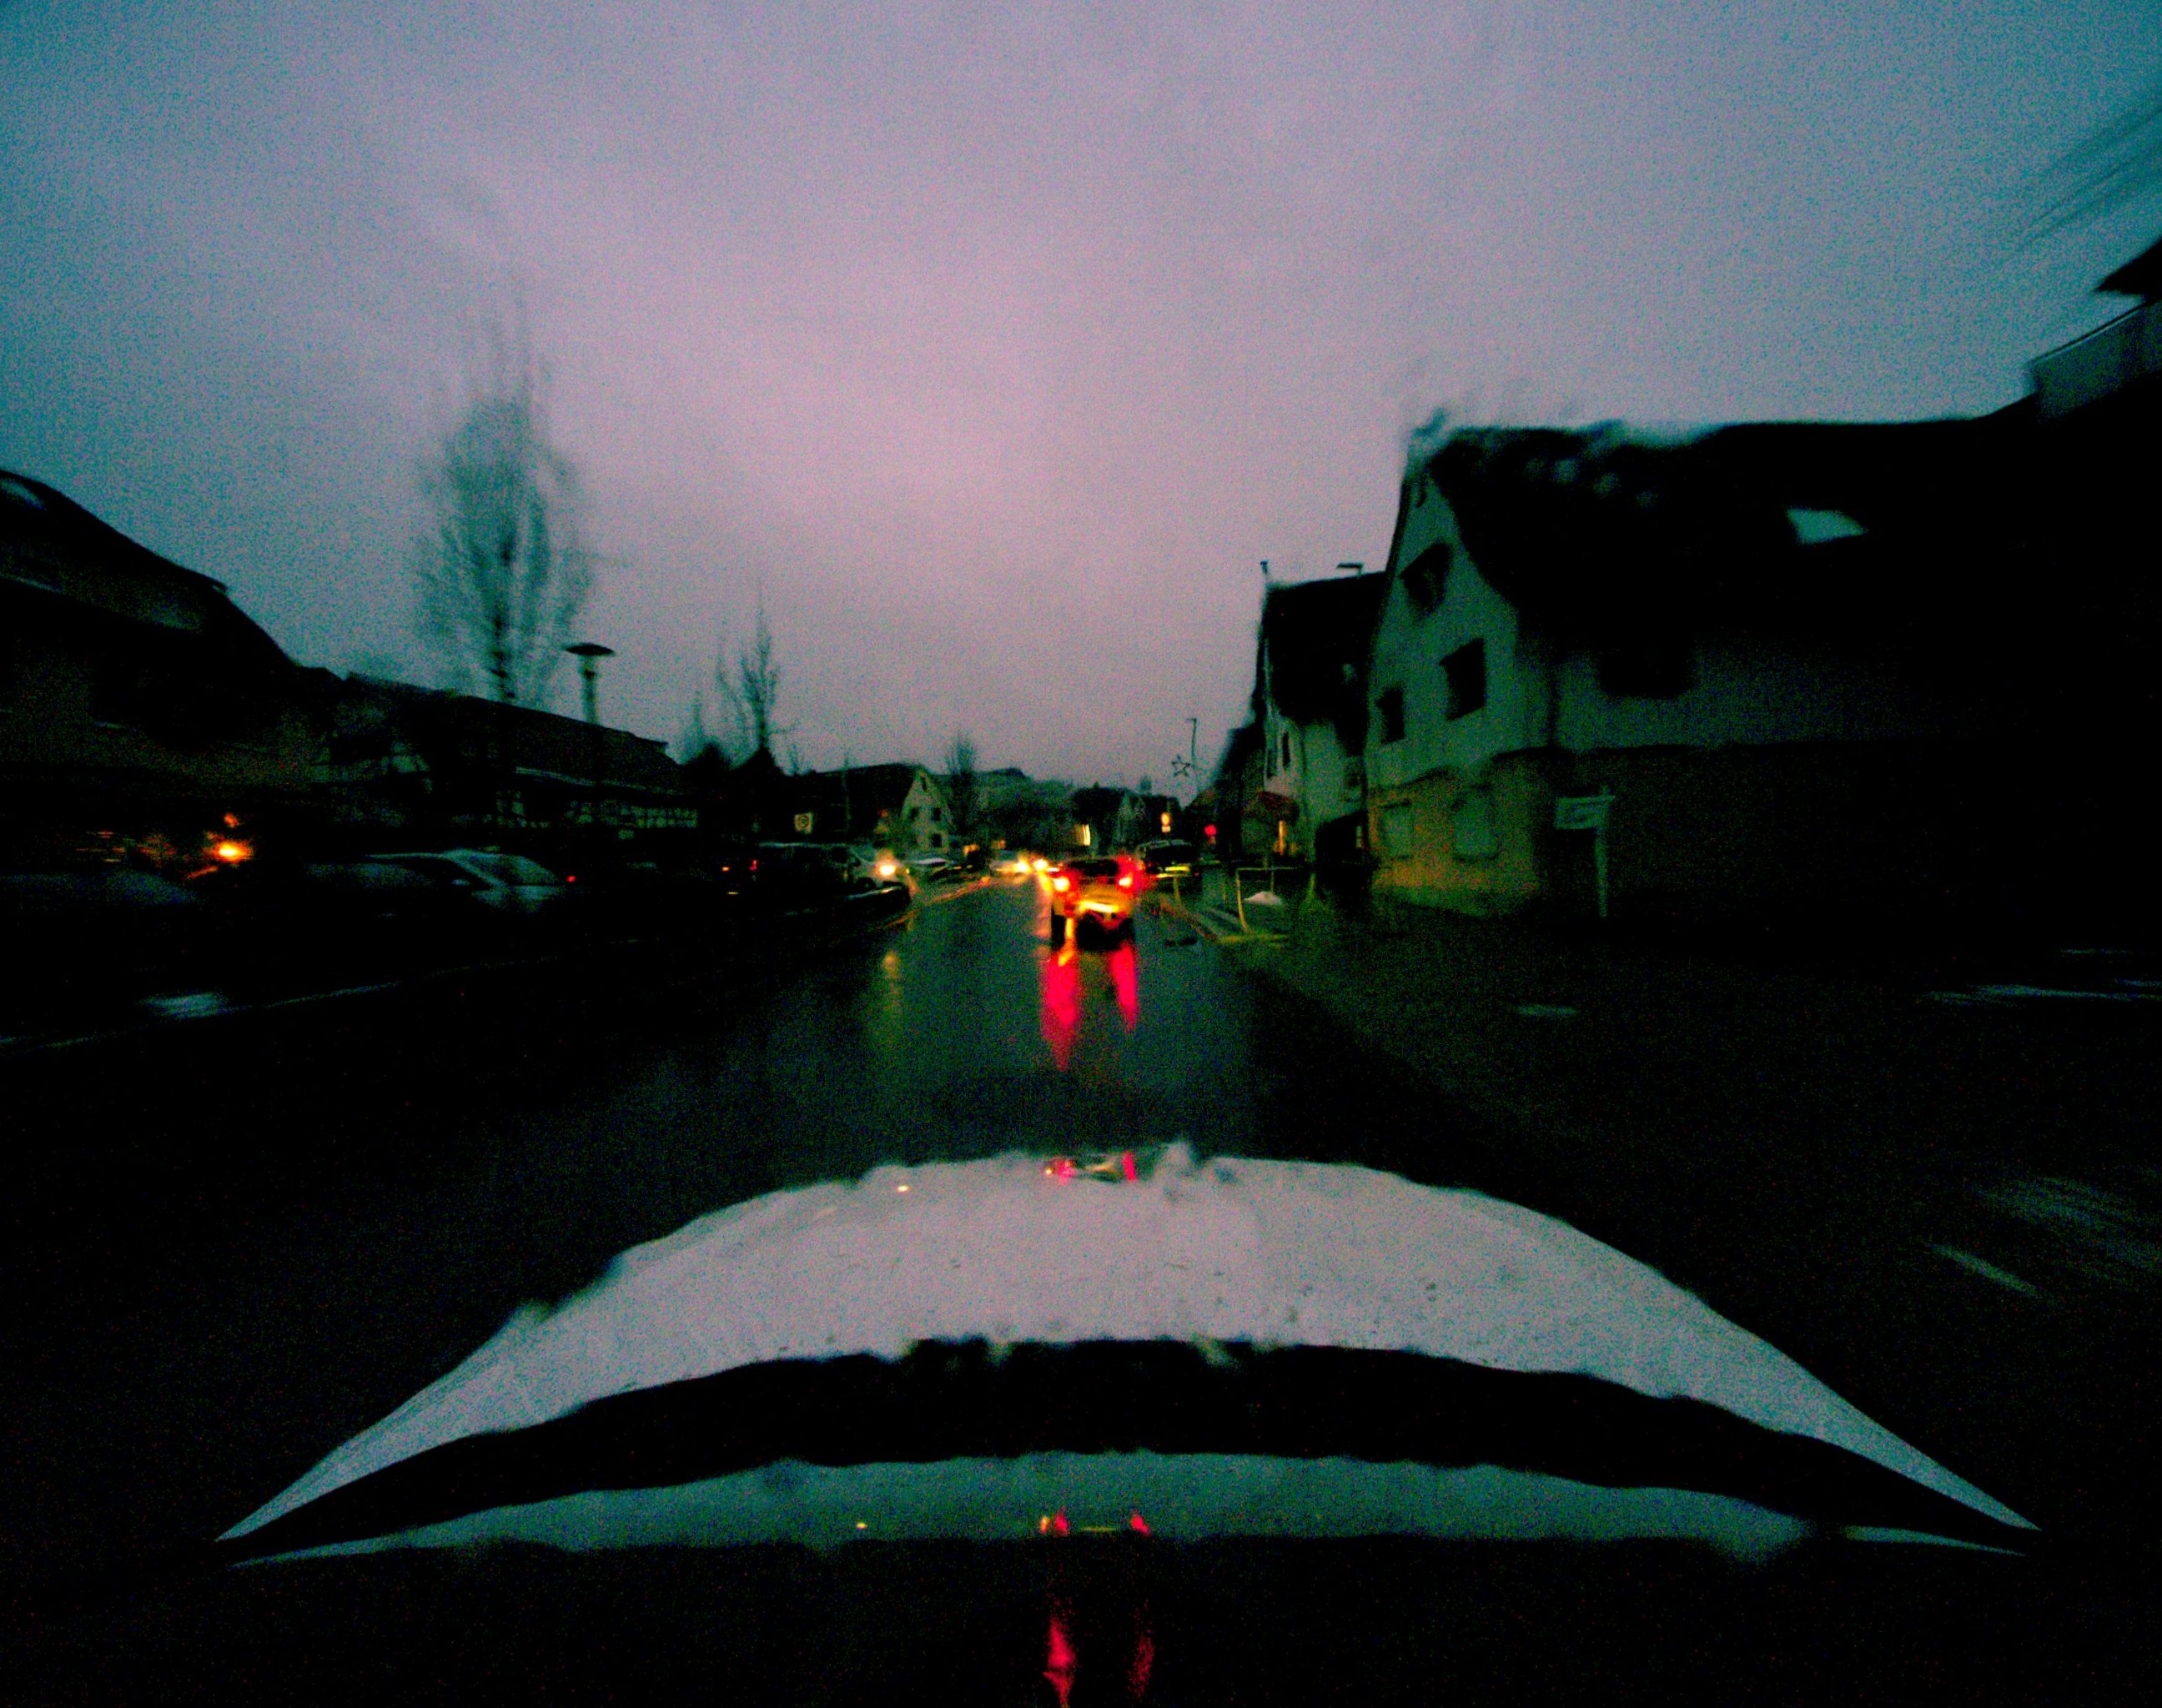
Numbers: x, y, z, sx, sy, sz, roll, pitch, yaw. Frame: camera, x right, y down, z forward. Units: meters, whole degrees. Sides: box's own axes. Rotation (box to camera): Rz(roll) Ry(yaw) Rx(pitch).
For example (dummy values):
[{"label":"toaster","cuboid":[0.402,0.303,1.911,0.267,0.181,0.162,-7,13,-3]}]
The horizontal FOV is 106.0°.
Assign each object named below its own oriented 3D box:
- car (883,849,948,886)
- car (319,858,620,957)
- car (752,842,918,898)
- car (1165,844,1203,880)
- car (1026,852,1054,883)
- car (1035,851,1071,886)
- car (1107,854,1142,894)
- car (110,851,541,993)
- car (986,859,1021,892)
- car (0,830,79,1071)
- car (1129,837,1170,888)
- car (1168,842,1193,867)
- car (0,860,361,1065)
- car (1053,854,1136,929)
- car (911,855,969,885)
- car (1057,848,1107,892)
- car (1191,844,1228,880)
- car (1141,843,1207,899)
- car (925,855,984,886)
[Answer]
[{"label":"car","cuboid":[-10.639,0.921,52.177,4.331,2.252,2.011,-2,-3,45]},{"label":"car","cuboid":[-9.546,0.798,12.892,3.528,1.447,1.712,0,-1,5]},{"label":"car","cuboid":[-8.578,0.529,28.478,5.358,1.817,1.718,1,-1,14]},{"label":"car","cuboid":[6.076,0.528,48.368,1.863,1.999,4.445,0,-2,2]},{"label":"car","cuboid":[-3.006,1.031,60.073,1.914,2.216,3.972,0,-2,-1]},{"label":"car","cuboid":[-1.762,0.950,52.019,1.986,2.112,4.001,0,-2,2]},{"label":"car","cuboid":[2.526,1.196,47.720,1.986,2.252,4.001,0,-2,2]},{"label":"car","cuboid":[-9.512,0.823,10.445,4.147,1.644,1.660,-1,-1,4]},{"label":"car","cuboid":[-4.930,1.423,52.184,1.914,2.028,3.972,0,-2,-1]},{"label":"car","cuboid":[-9.779,0.680,4.991,4.613,1.667,1.998,-1,-1,-2]},{"label":"car","cuboid":[3.453,0.478,41.738,1.863,2.469,4.445,0,-2,2]},{"label":"car","cuboid":[7.786,0.074,63.358,1.860,1.835,4.452,0,-2,8]},{"label":"car","cuboid":[-9.493,0.903,7.611,4.178,1.652,1.682,0,-1,4]},{"label":"car","cuboid":[0.277,0.701,16.818,1.557,1.412,3.018,0,0,1]},{"label":"car","cuboid":[-9.715,1.163,56.042,4.117,1.976,1.833,-2,-3,45]},{"label":"car","cuboid":[0.080,0.577,31.621,1.759,1.628,3.588,0,0,3]},{"label":"car","cuboid":[8.526,0.560,54.190,1.985,2.249,4.002,0,-2,2]},{"label":"car","cuboid":[3.264,0.583,29.345,1.990,1.865,4.083,-1,-1,1]},{"label":"car","cuboid":[-9.141,1.237,58.862,4.331,2.167,2.011,-2,-3,45]}]
